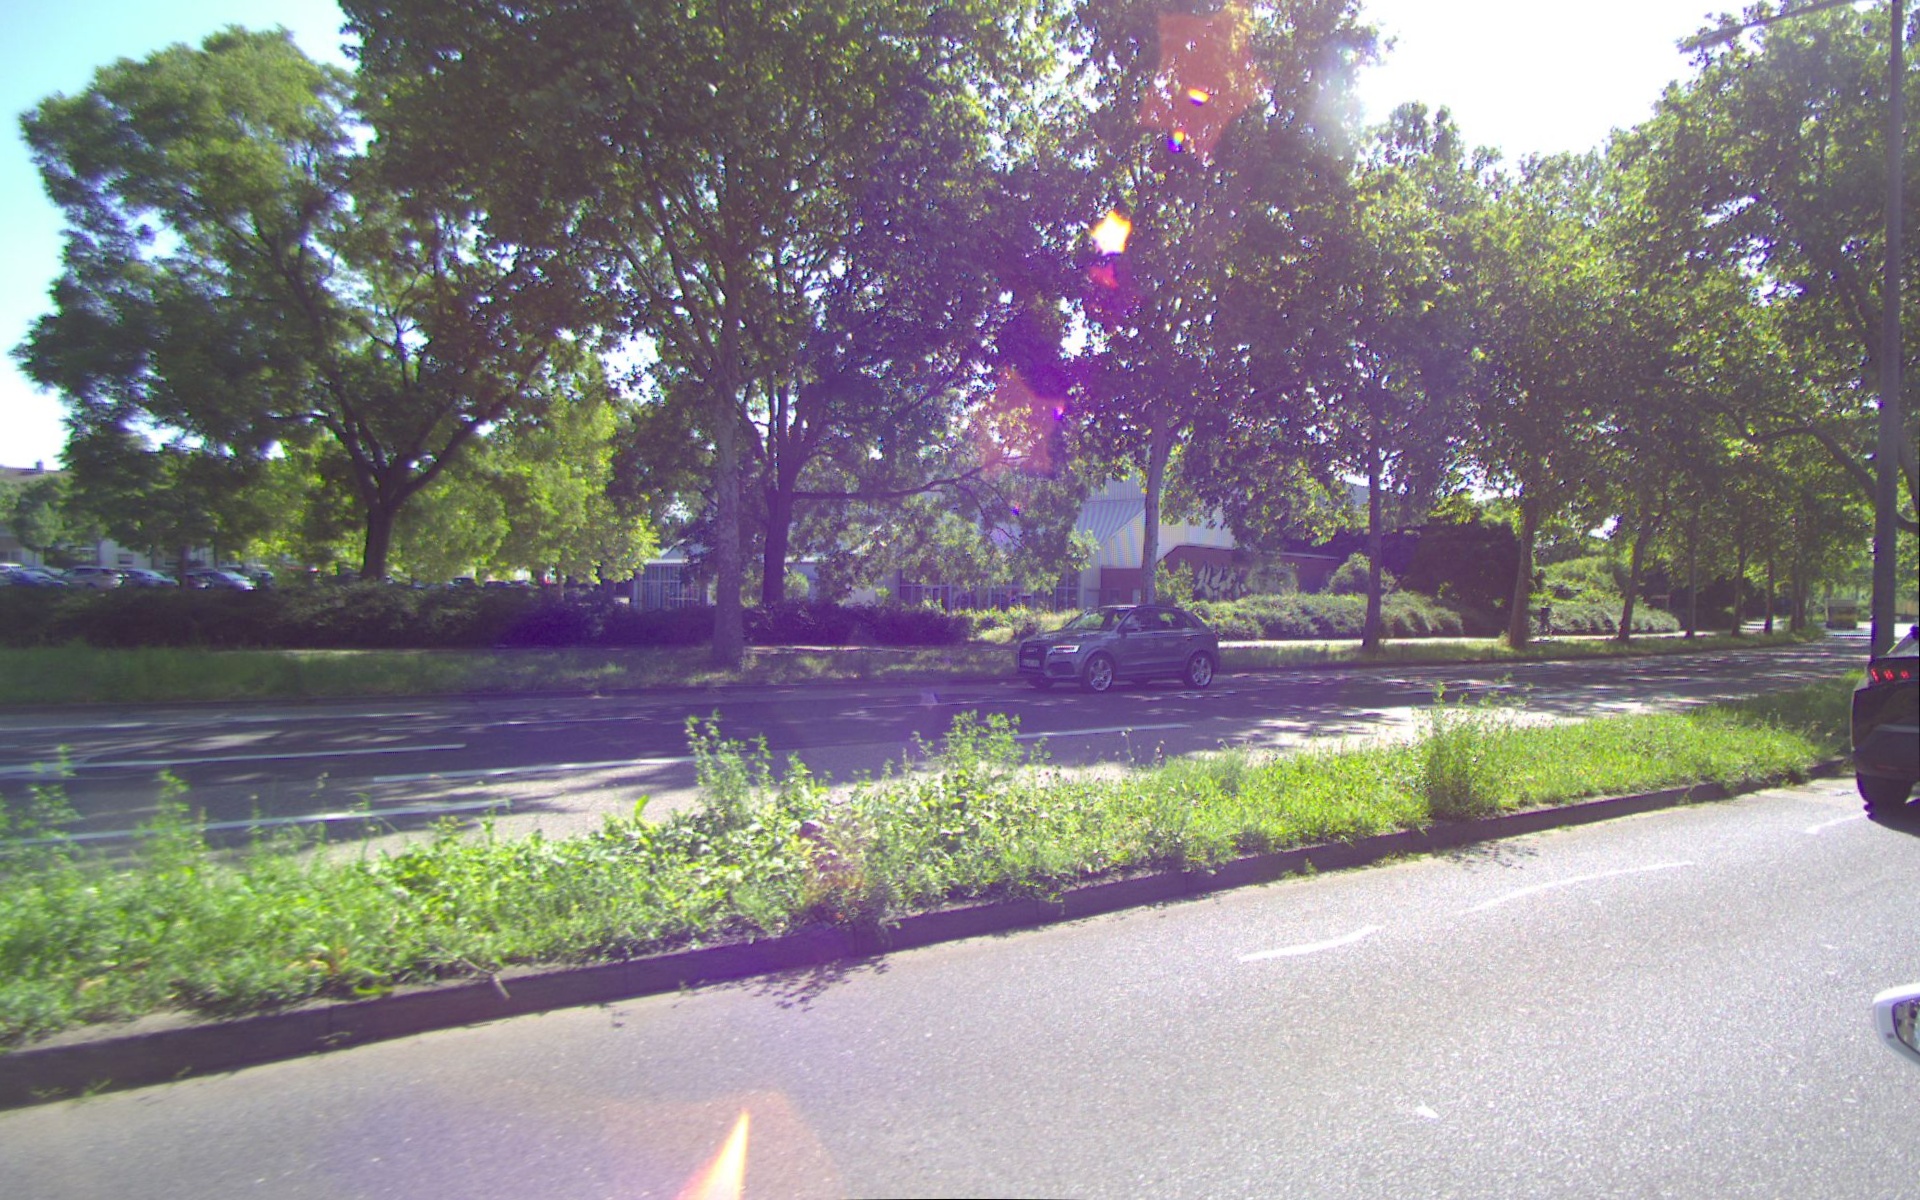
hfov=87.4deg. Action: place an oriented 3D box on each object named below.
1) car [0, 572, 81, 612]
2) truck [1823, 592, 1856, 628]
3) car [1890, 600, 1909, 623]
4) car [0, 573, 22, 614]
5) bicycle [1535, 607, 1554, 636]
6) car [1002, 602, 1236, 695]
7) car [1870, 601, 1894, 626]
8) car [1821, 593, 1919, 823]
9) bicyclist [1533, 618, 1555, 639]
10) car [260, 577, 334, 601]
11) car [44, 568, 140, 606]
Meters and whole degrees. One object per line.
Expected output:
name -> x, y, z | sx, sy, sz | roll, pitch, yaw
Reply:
car -> -49.242, -0.437, 53.172 | 3.919, 2.040, 1.818 | 1, 0, 4
truck -> 92.684, 0.988, 105.913 | 2.422, 3.496, 7.061 | 3, 3, 41
car -> 147.478, 1.795, 157.645 | 2.036, 3.480, 6.727 | 1, 0, 44
car -> -49.836, -0.361, 50.408 | 3.919, 2.040, 1.818 | 1, 0, 4
bicycle -> 28.596, 1.034, 49.164 | 0.946, 1.403, 0.425 | 1, 1, -36
car -> 3.058, 0.860, 18.986 | 4.351, 1.577, 1.783 | 1, -1, -34
car -> 138.652, 2.006, 151.056 | 2.424, 3.496, 7.057 | 4, 3, 43
car -> 9.223, 0.854, 8.453 | 4.388, 1.719, 1.861 | 1, -1, -33
bicyclist -> 28.587, 1.386, 49.172 | 1.411, 1.027, 0.425 | 1, 0, -37
car -> -46.059, -0.757, 69.822 | 3.920, 1.511, 1.818 | 1, 0, 1
car -> -48.900, -0.705, 56.635 | 3.919, 2.040, 1.818 | 1, 0, 4
